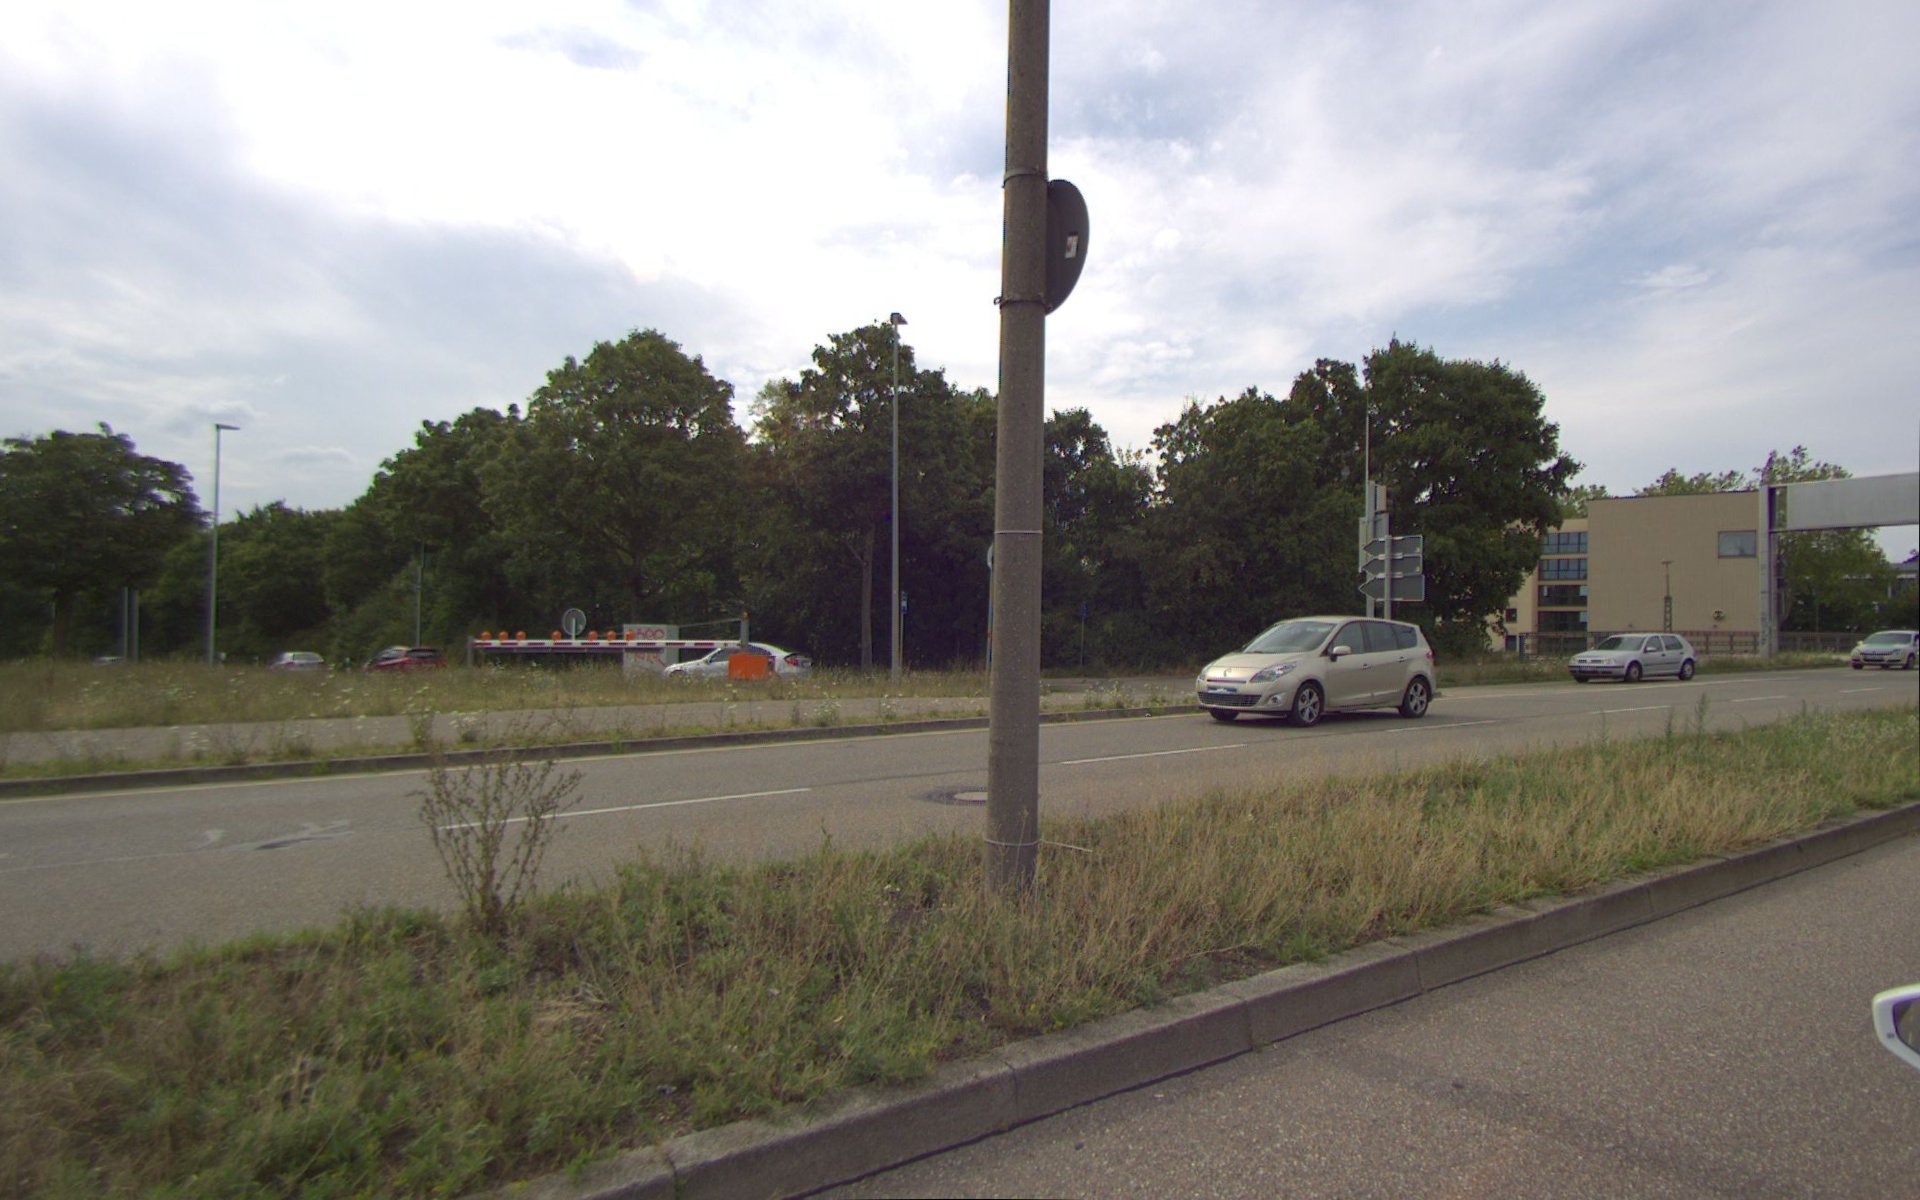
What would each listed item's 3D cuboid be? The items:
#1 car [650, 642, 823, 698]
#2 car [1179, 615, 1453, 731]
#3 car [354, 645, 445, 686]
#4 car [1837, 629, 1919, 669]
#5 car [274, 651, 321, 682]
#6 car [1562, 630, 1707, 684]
[{"bbox_3d":[-6.216,1.916,28.089,4.370,1.465,1.752,-1,-2,11],"label":"car"},{"bbox_3d":[5.732,1.066,16.007,4.515,1.619,1.735,1,-2,-33],"label":"car"},{"bbox_3d":[-20.751,2.391,37.149,4.114,1.386,1.511,-2,-2,39],"label":"car"},{"bbox_3d":[35.761,1.902,38.531,4.257,1.437,1.661,2,-4,-26],"label":"car"},{"bbox_3d":[-30.463,3.037,46.179,1.264,1.290,2.970,1,-2,-44],"label":"car"},{"bbox_3d":[20.334,1.683,30.291,4.033,1.438,1.663,-1,-1,-23],"label":"car"}]
